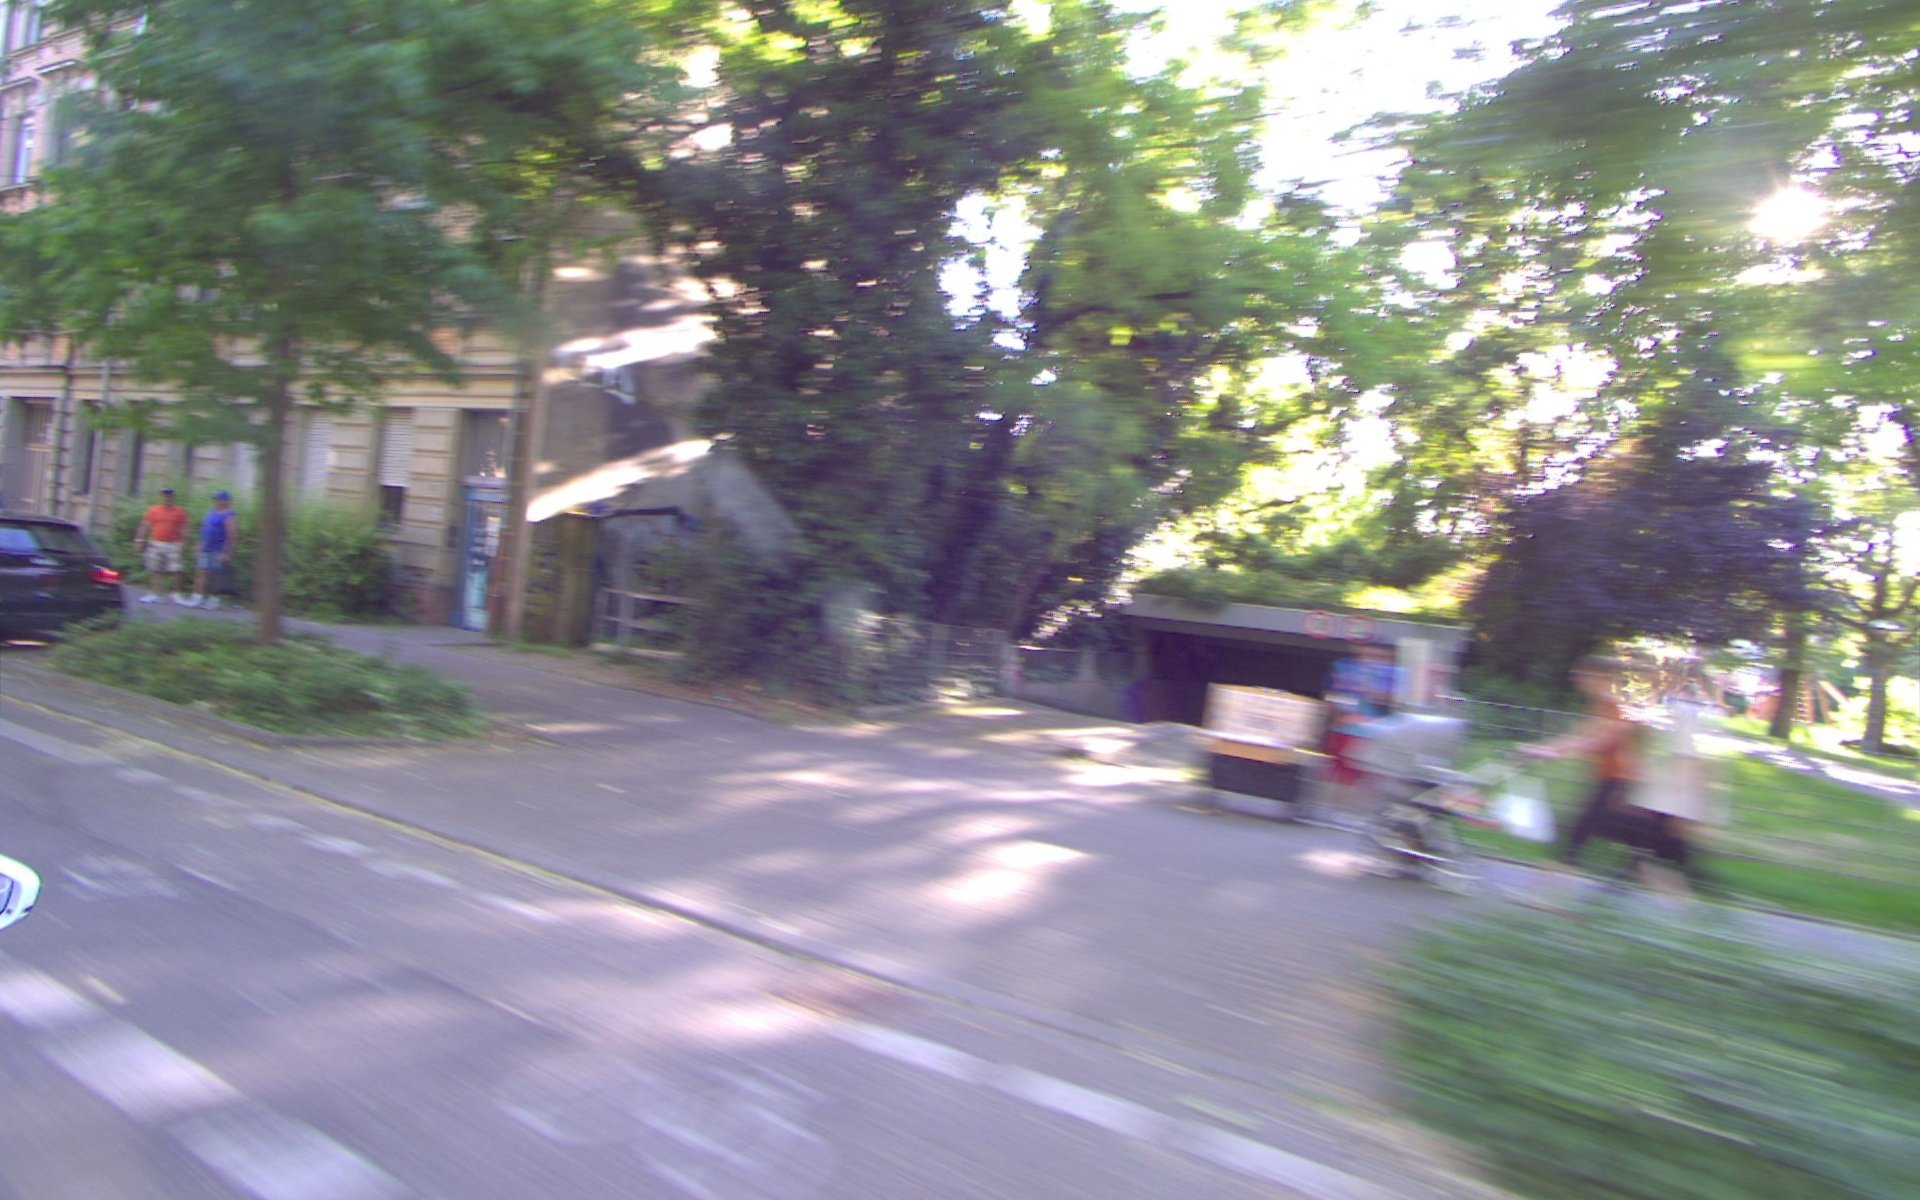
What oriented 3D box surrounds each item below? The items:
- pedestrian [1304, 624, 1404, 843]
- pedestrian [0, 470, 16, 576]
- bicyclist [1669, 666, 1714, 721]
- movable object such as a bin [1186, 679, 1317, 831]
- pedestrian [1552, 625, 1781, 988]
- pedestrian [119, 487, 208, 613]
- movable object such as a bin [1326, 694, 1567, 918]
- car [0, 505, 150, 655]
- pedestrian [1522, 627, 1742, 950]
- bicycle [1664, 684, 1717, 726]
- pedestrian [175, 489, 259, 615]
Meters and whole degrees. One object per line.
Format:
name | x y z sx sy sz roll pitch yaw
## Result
pedestrian | 3.398 1.126 8.655 0.545 1.746 0.619 6 -1 30
pedestrian | -16.823 -1.360 17.137 0.589 1.814 0.728 7 -1 -3
bicyclist | 25.303 3.238 34.814 0.919 1.765 1.067 6 -1 26
movable object such as a bin | 2.561 1.324 8.814 0.939 1.139 0.668 7 -1 20
pedestrian | 4.035 1.107 5.770 0.840 1.816 0.725 7 2 38
pedestrian | -12.204 -0.760 15.433 0.714 1.814 0.601 7 -1 16
movable object such as a bin | 3.351 1.358 6.972 1.285 1.218 0.638 7 2 38
car | -10.966 -0.341 11.084 3.774 1.431 1.675 6 2 26
pedestrian | 4.327 1.142 6.494 0.953 1.816 0.725 7 2 38
bicycle | 25.300 3.630 34.901 0.919 1.280 2.689 6 -2 26
pedestrian | -11.406 -0.734 15.454 0.715 1.814 0.600 7 -1 24
